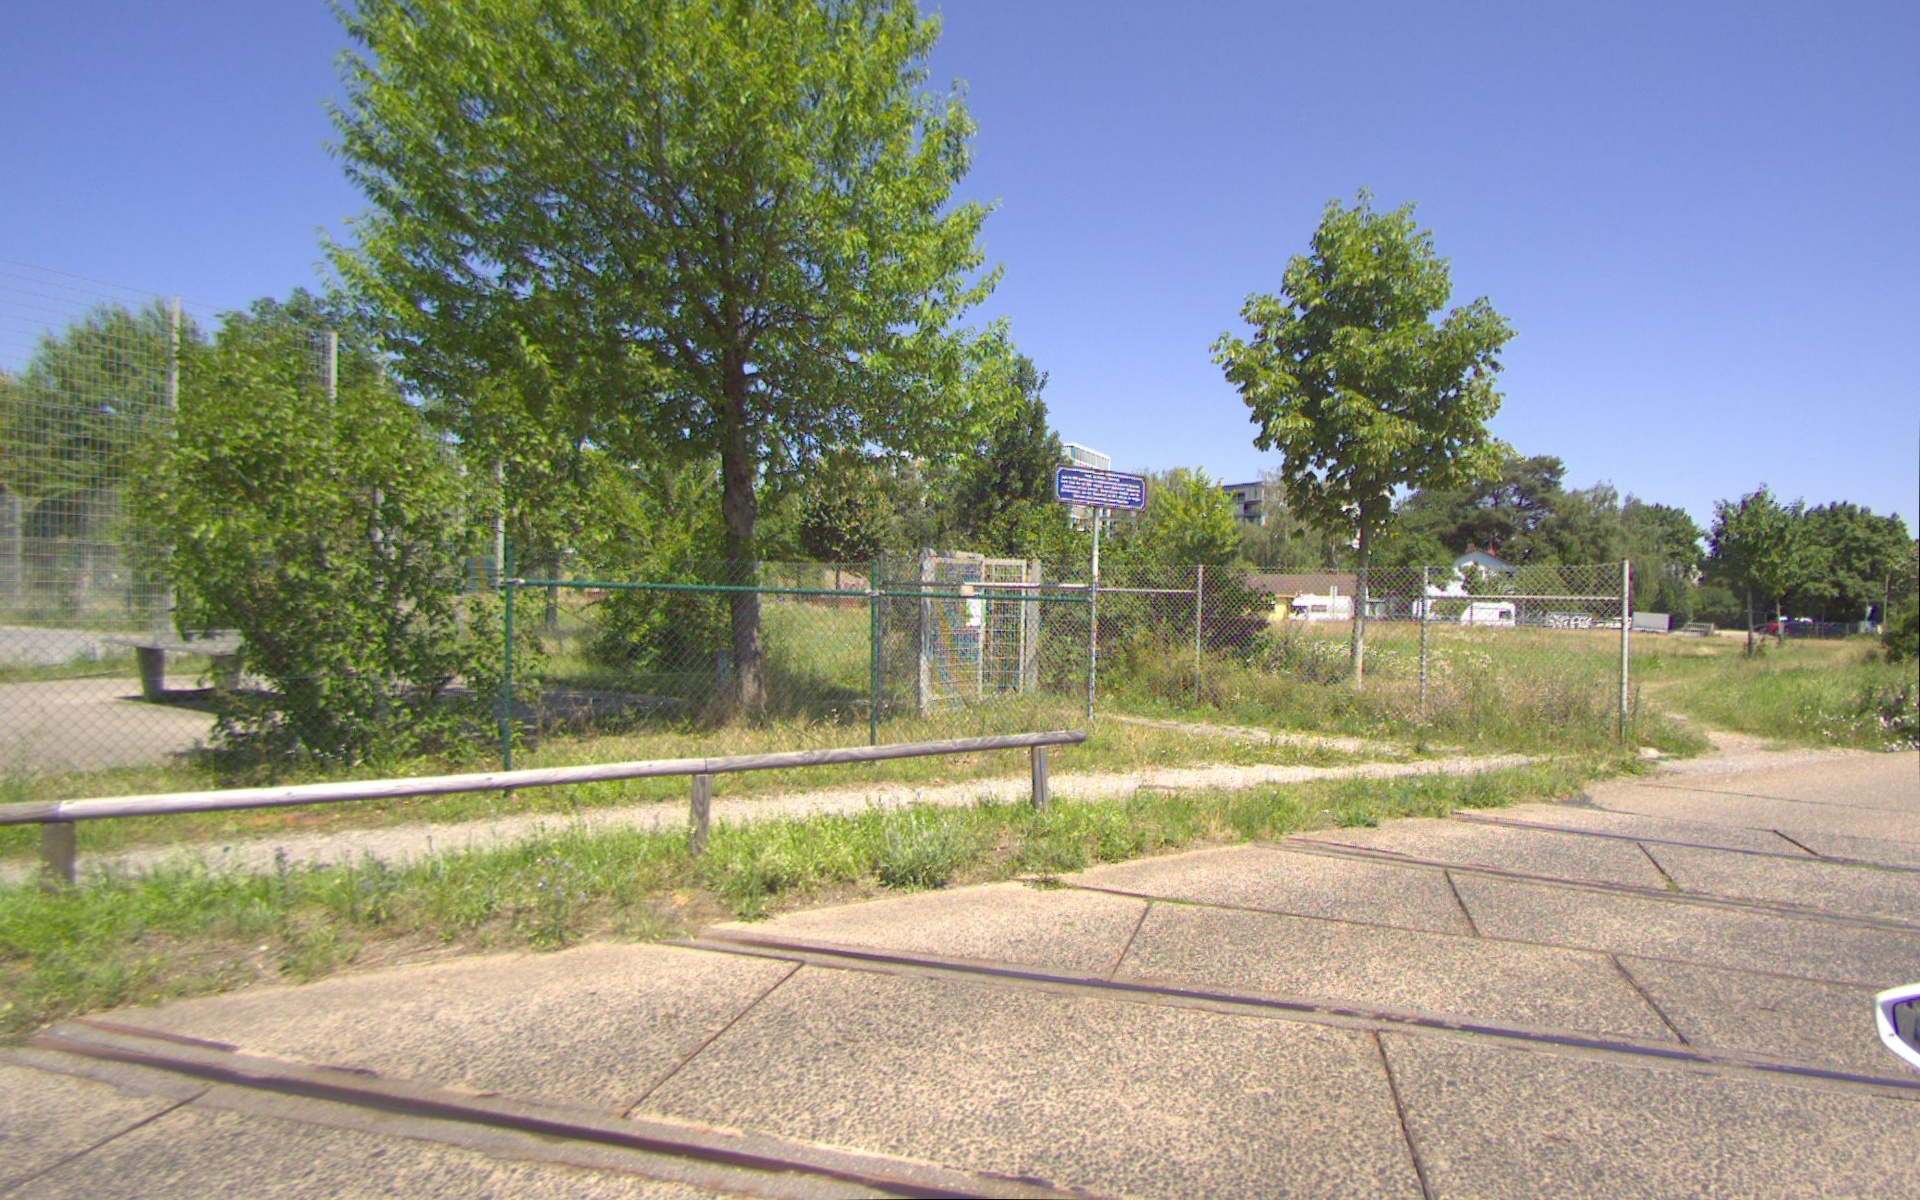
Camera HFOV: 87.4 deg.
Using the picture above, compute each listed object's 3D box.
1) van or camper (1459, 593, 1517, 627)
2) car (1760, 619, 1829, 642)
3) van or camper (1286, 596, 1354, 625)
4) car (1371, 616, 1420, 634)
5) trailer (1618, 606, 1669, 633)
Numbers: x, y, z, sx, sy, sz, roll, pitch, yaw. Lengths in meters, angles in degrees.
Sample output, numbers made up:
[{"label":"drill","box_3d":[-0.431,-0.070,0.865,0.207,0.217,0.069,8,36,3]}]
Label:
[{"label":"van or camper","box_3d":[47.203,0.878,89.821,4.386,2.626,2.488,4,2,30]},{"label":"car","box_3d":[77.402,2.819,93.261,4.761,1.865,1.993,2,0,37]},{"label":"van or camper","box_3d":[34.693,1.003,96.864,5.861,2.628,2.468,2,0,29]},{"label":"car","box_3d":[40.630,2.323,93.750,3.931,1.573,1.910,2,0,32]},{"label":"trailer","box_3d":[57.399,1.617,84.404,3.364,2.073,1.757,2,0,30]}]
